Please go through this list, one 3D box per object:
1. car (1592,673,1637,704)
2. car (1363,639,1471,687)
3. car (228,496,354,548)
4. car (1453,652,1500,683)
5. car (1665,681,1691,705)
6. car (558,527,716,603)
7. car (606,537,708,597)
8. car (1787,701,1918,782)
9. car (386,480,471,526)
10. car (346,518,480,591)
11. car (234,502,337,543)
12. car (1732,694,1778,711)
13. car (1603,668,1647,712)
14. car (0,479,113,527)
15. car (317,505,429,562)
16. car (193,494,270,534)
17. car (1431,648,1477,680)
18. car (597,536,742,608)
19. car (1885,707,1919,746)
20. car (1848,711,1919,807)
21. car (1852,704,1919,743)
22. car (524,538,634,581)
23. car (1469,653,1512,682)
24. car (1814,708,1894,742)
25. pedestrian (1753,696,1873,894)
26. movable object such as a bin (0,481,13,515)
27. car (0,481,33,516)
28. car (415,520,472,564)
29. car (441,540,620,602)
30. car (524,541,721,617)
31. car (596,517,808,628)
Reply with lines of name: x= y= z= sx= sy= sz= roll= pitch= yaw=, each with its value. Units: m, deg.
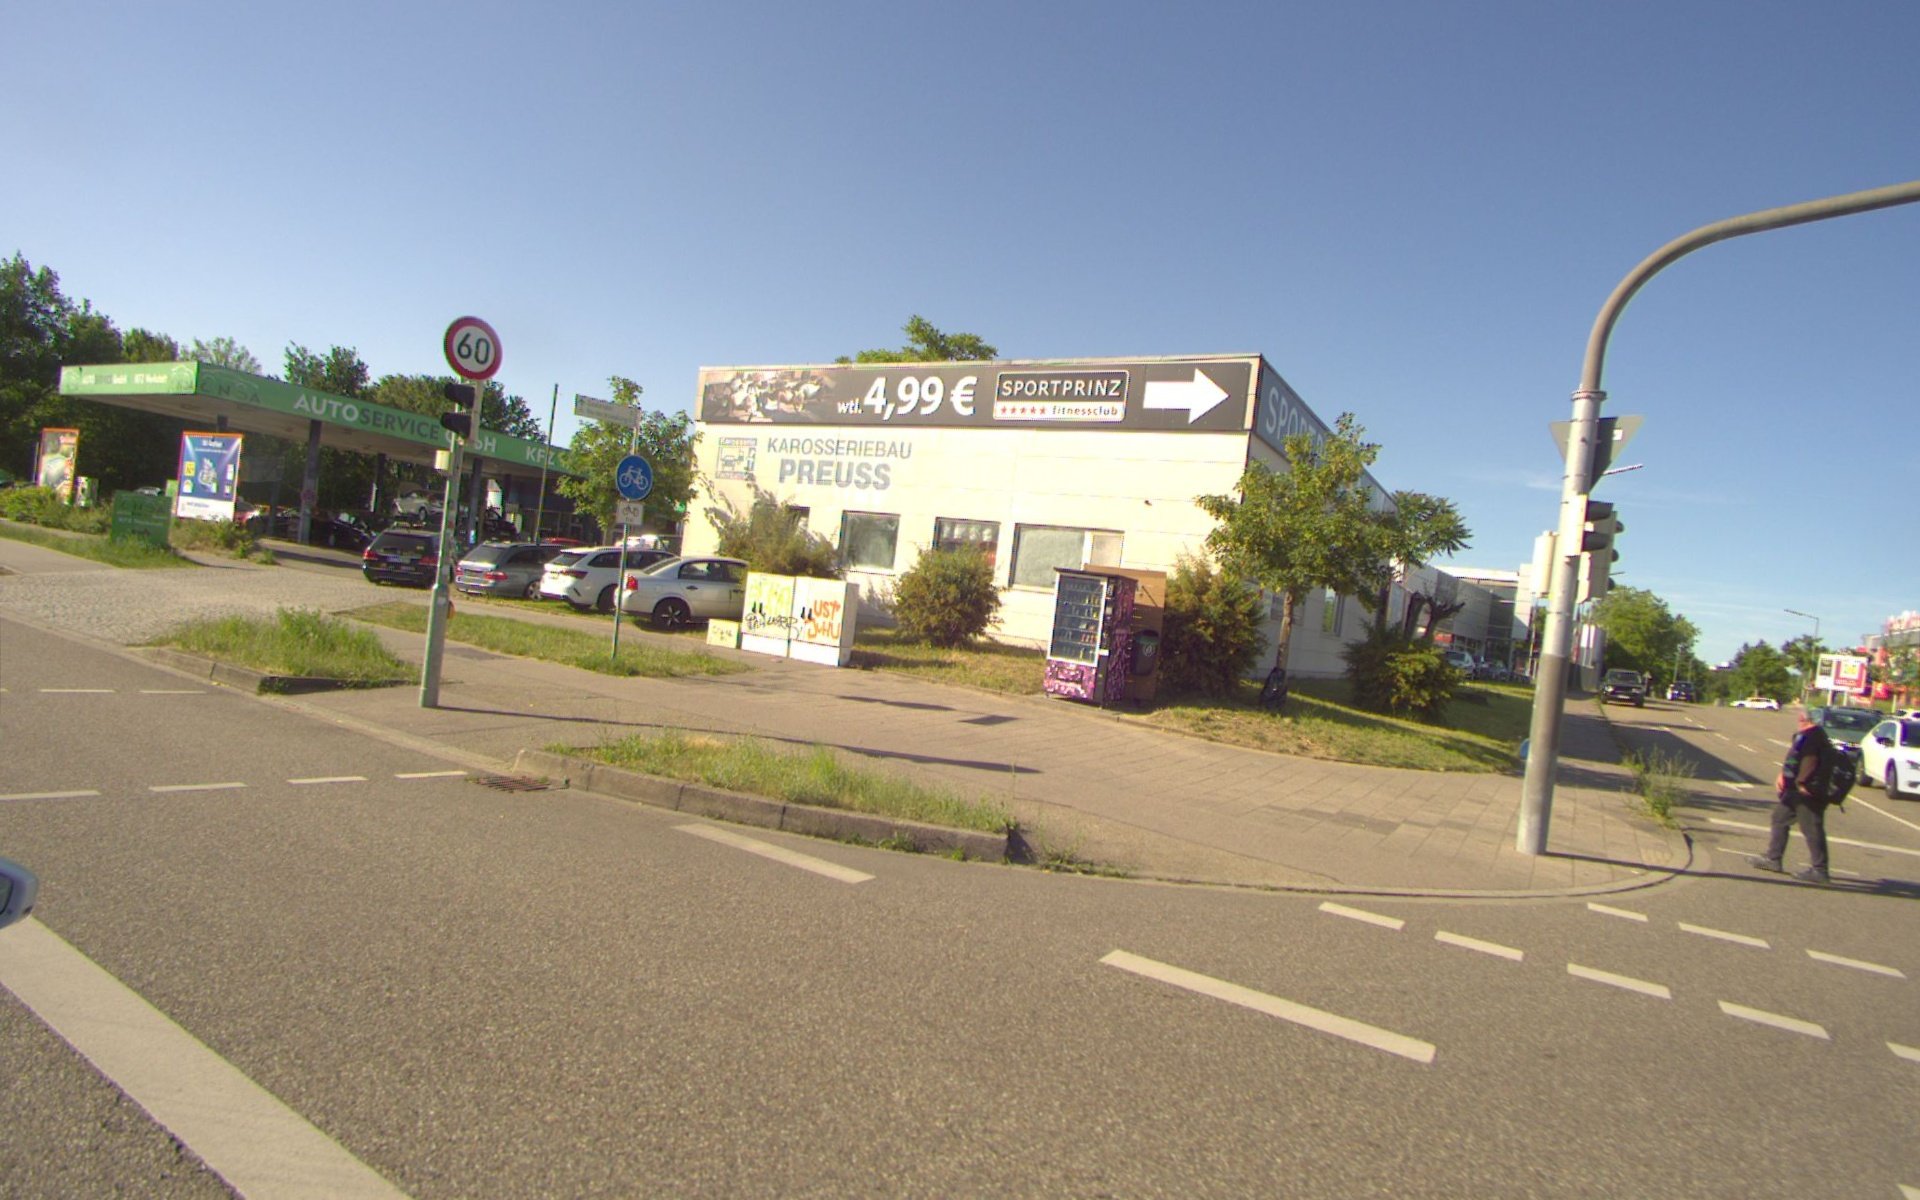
car: x=41.091 y=5.539 z=63.089 sx=1.970 sy=1.663 sz=3.985 roll=6 pitch=0 yaw=37
car: x=19.878 y=2.741 z=43.775 sx=3.935 sy=1.503 sz=1.779 roll=6 pitch=-2 yaw=33
car: x=-28.979 y=-3.347 z=43.676 sx=3.930 sy=1.503 sz=2.000 roll=8 pitch=-2 yaw=-5
car: x=30.414 y=3.968 z=59.210 sx=1.754 sy=1.379 sz=3.990 roll=6 pitch=-2 yaw=36
car: x=70.418 y=9.125 z=98.698 sx=1.679 sy=2.037 sz=3.987 roll=6 pitch=-2 yaw=39
car: x=-9.395 y=-1.029 z=29.129 sx=4.518 sy=1.807 sz=1.683 roll=6 pitch=3 yaw=30
car: x=-12.965 y=-1.387 z=43.196 sx=1.892 sy=1.928 sz=3.698 roll=7 pitch=-2 yaw=31
car: x=22.823 y=3.562 z=25.885 sx=1.779 sy=1.609 sz=3.922 roll=5 pitch=-1 yaw=32
car: x=-25.475 y=-4.637 z=48.209 sx=3.716 sy=1.777 sz=1.920 roll=6 pitch=0 yaw=33
car: x=-14.142 y=-1.211 z=26.323 sx=1.870 sy=1.551 sz=4.818 roll=5 pitch=2 yaw=-15
car: x=-34.773 y=-3.991 z=51.966 sx=1.668 sy=1.535 sz=3.994 roll=6 pitch=0 yaw=27
car: x=92.821 y=11.998 z=117.450 sx=3.936 sy=1.379 sz=1.778 roll=6 pitch=-2 yaw=34
car: x=35.443 y=4.830 z=53.559 sx=1.711 sy=1.991 sz=3.992 roll=7 pitch=-2 yaw=35
car: x=-40.615 y=-4.326 z=44.442 sx=4.506 sy=1.661 sz=1.788 roll=5 pitch=2 yaw=-29
car: x=-22.796 y=-2.602 z=39.049 sx=3.934 sy=1.666 sz=1.997 roll=7 pitch=-2 yaw=32
car: x=-38.173 y=-4.513 z=52.693 sx=4.067 sy=1.625 sz=1.717 roll=7 pitch=-2 yaw=32
car: x=27.197 y=3.541 z=55.324 sx=1.779 sy=1.401 sz=3.923 roll=7 pitch=-1 yaw=33
car: x=-9.083 y=-0.880 z=31.403 sx=4.145 sy=1.886 sz=1.893 roll=6 pitch=3 yaw=30
car: x=57.612 y=7.690 z=59.165 sx=4.289 sy=2.044 sz=1.719 roll=7 pitch=0 yaw=31
car: x=19.170 y=3.163 z=19.813 sx=1.779 sy=1.609 sz=3.922 roll=5 pitch=-1 yaw=32
car: x=60.934 y=8.093 z=65.178 sx=4.289 sy=2.008 sz=1.719 roll=7 pitch=0 yaw=31
car: x=-14.982 y=-1.577 z=39.736 sx=1.818 sy=1.569 sz=3.761 roll=4 pitch=3 yaw=31
car: x=33.566 y=4.282 z=63.604 sx=1.754 sy=1.379 sz=3.990 roll=6 pitch=-2 yaw=36
car: x=67.527 y=9.393 z=76.040 sx=4.081 sy=1.874 sz=1.719 roll=7 pitch=0 yaw=31
pedestrian: x=8.258 y=1.848 z=9.772 sx=0.607 sy=1.737 sz=0.758 roll=7 pitch=1 yaw=31
movable object such as a bin: x=-43.575 y=-4.678 z=45.036 sx=1.240 sy=1.445 sz=0.987 roll=8 pitch=0 yaw=-11
car: x=-47.852 y=-5.192 z=49.206 sx=1.743 sy=1.503 sz=3.290 roll=7 pitch=-2 yaw=33
car: x=-20.882 y=-2.339 z=40.777 sx=1.672 sy=1.438 sz=3.681 roll=8 pitch=-1 yaw=-24
car: x=-10.320 y=-0.753 z=24.393 sx=1.811 sy=1.310 sz=3.599 roll=6 pitch=6 yaw=33
car: x=-7.560 y=-0.518 z=22.763 sx=1.701 sy=1.474 sz=3.901 roll=7 pitch=7 yaw=43
car: x=-5.288 y=-0.557 z=20.651 sx=3.944 sy=2.044 sz=1.673 roll=0 pitch=7 yaw=-26
